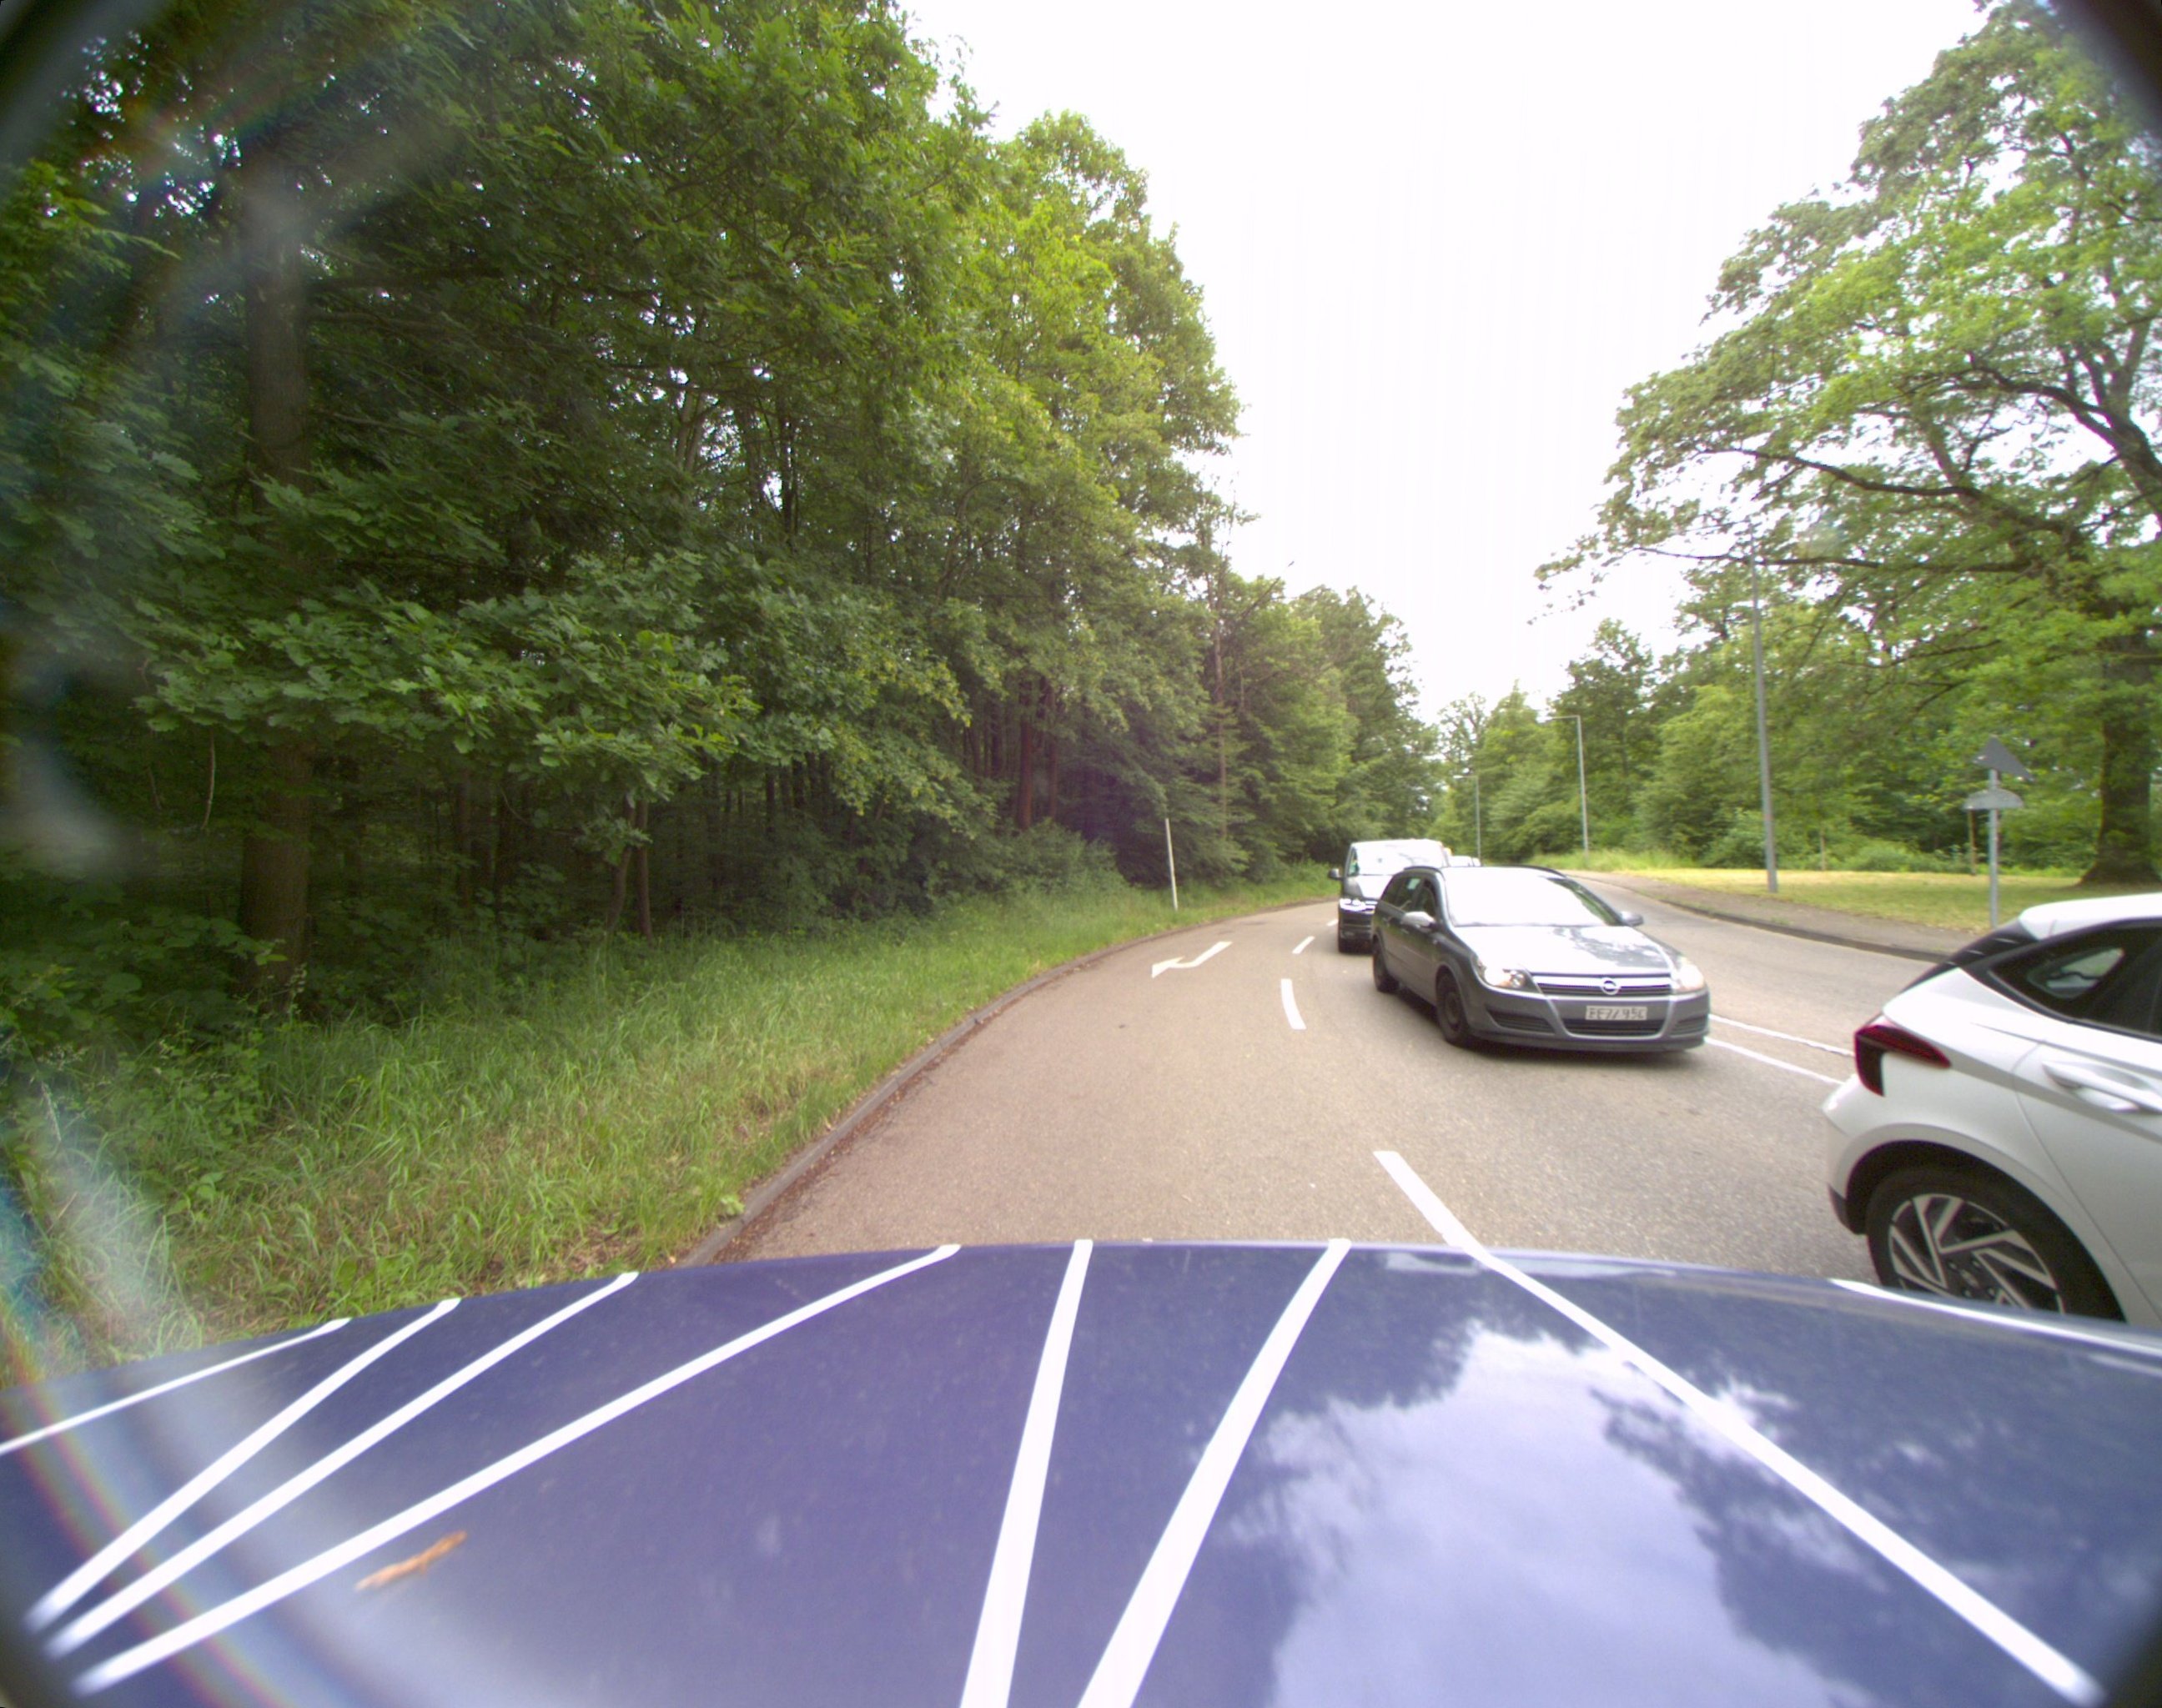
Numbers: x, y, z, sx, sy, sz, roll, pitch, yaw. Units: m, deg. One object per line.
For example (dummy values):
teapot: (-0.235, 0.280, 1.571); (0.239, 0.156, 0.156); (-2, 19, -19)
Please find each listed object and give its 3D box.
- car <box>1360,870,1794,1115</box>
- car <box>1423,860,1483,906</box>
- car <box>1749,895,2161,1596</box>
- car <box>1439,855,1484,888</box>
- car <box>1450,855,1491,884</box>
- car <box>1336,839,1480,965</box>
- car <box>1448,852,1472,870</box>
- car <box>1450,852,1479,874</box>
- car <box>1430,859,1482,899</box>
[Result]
car: (3.959, 0.932, 7.097); (1.801, 1.470, 4.474); (-1, -1, 11)
car: (13.274, 1.003, 27.246); (1.775, 1.490, 3.880); (-2, -1, 25)
car: (3.142, 0.867, 0.657); (1.653, 1.470, 4.074); (-1, -1, 3)
car: (18.122, 0.800, 36.278); (1.775, 1.490, 3.880); (-2, -1, 25)
car: (20.955, 0.817, 41.015); (1.775, 1.490, 3.880); (-2, -1, 25)
car: (5.848, 0.751, 13.730); (1.987, 1.861, 4.539); (-2, -1, 23)
car: (34.169, 0.632, 68.465); (1.775, 1.490, 3.880); (-2, -1, 28)
car: (27.349, 0.651, 54.132); (1.775, 1.490, 3.880); (-2, -1, 28)
car: (15.204, 0.992, 30.942); (1.775, 1.490, 3.880); (-2, -1, 25)
